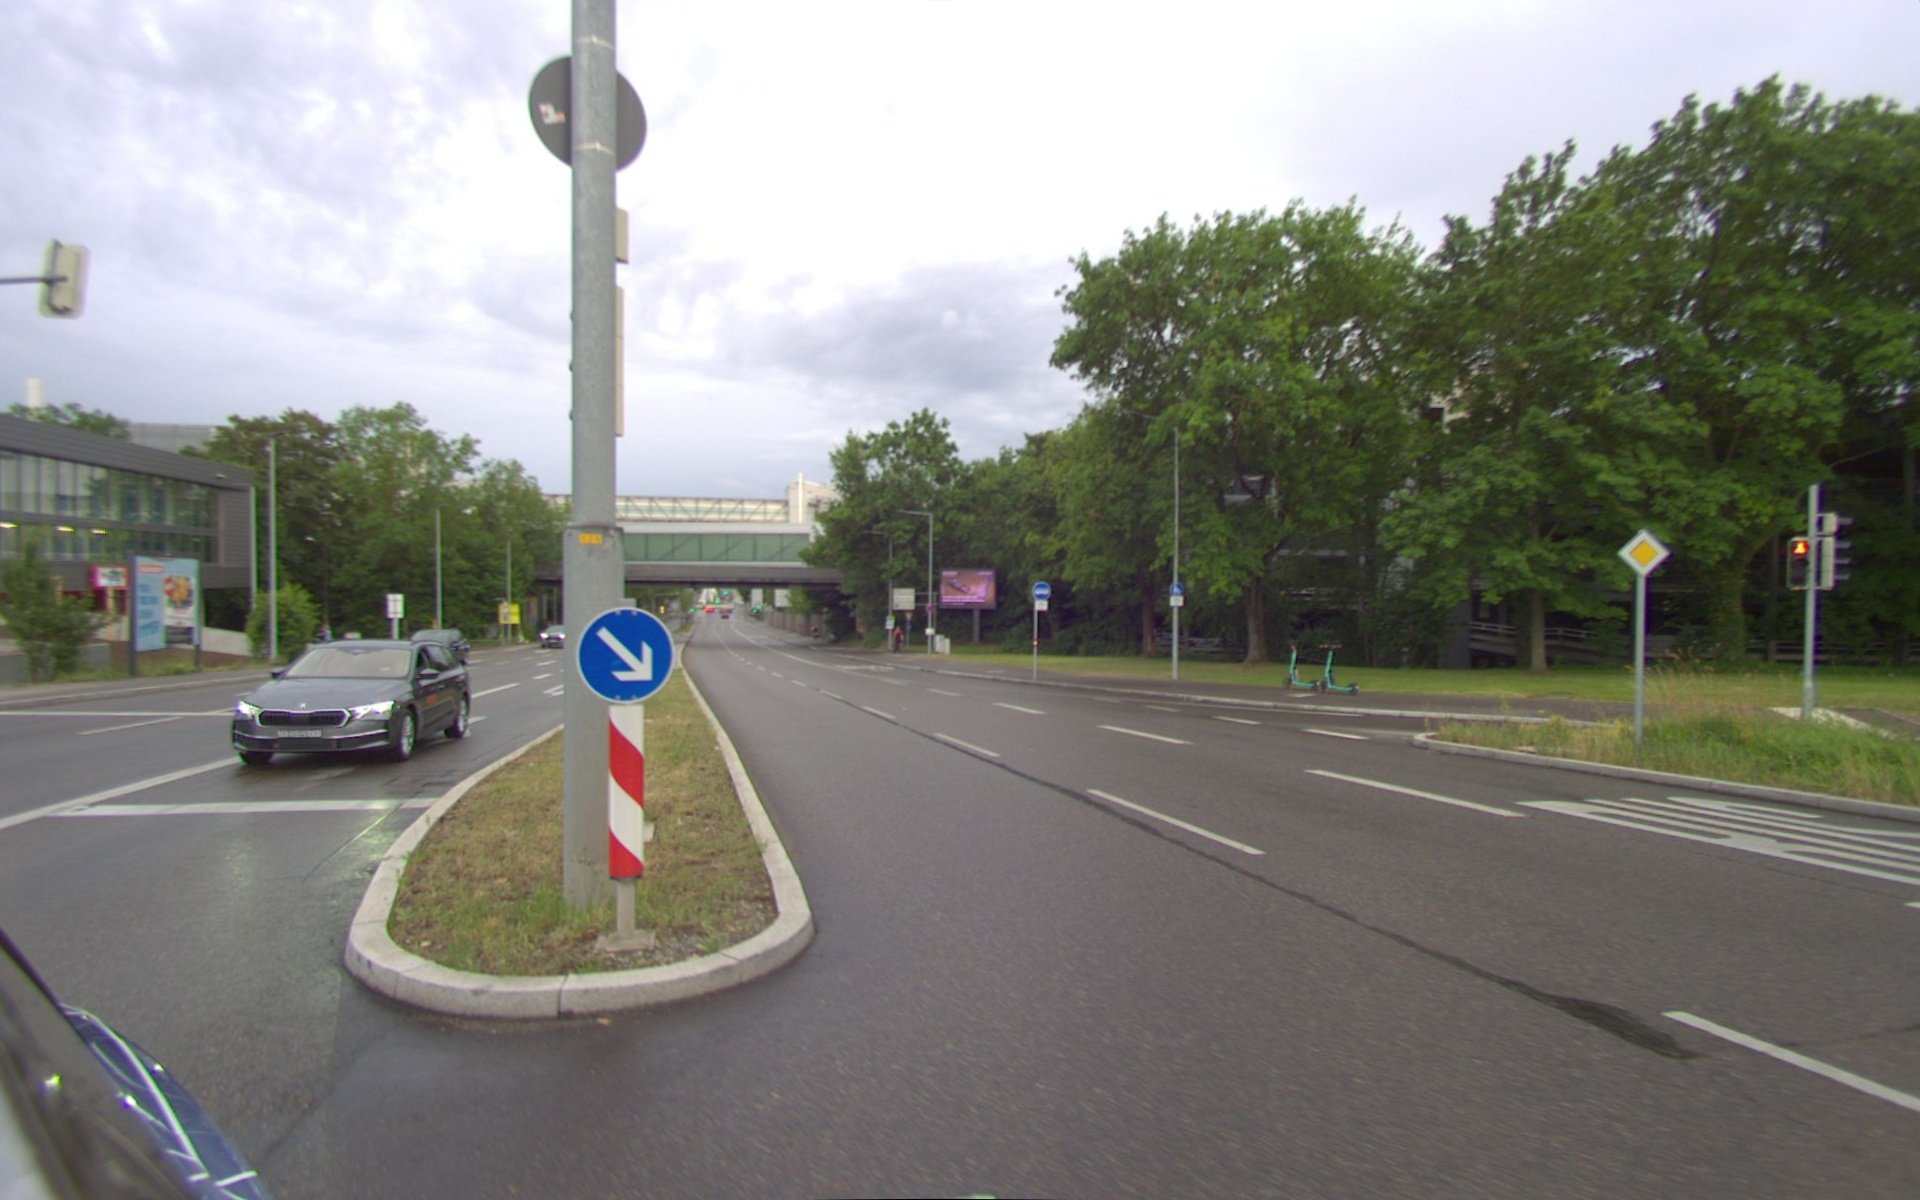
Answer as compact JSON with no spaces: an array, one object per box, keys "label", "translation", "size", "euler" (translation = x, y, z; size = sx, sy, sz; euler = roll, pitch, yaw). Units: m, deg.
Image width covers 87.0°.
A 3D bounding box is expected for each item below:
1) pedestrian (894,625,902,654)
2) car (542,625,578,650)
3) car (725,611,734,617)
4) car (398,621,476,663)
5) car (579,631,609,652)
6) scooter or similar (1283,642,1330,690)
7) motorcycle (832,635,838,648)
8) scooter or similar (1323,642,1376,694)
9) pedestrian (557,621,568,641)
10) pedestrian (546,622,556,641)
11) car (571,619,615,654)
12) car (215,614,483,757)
[{"label":"pedestrian","translation":[-3.961,2.519,64.826],"size":[0.513,1.830,0.800],"euler":[0,-1,-3]},{"label":"car","translation":[-28.202,2.606,71.405],"size":[1.796,1.602,4.344],"euler":[0,0,-14]},{"label":"car","translation":[-57.608,3.565,252.924],"size":[2.035,1.372,4.770],"euler":[1,-1,-15]},{"label":"car","translation":[-20.632,1.623,40.076],"size":[1.721,1.441,4.529],"euler":[0,0,-14]},{"label":"car","translation":[-29.954,3.369,82.879],"size":[1.791,1.592,4.344],"euler":[0,0,-14]},{"label":"scooter or similar","translation":[9.083,1.709,26.574],"size":[0.307,1.227,1.312],"euler":[1,-3,-27]},{"label":"motorcycle","translation":[-11.454,3.780,92.615],"size":[0.462,1.167,1.936],"euler":[1,-2,-10]},{"label":"scooter or similar","translation":[9.587,1.663,24.949],"size":[0.307,1.227,1.312],"euler":[1,-3,-27]},{"label":"pedestrian","translation":[-33.902,2.643,86.280],"size":[0.604,1.734,0.892],"euler":[1,-1,-3]},{"label":"pedestrian","translation":[-34.730,2.691,85.915],"size":[0.643,1.608,0.579],"euler":[1,-1,-2]},{"label":"car","translation":[-21.929,2.125,60.614],"size":[2.002,1.945,4.344],"euler":[0,0,-14]},{"label":"car","translation":[-7.671,1.020,13.194],"size":[1.791,1.557,4.074],"euler":[2,-2,-13]}]
